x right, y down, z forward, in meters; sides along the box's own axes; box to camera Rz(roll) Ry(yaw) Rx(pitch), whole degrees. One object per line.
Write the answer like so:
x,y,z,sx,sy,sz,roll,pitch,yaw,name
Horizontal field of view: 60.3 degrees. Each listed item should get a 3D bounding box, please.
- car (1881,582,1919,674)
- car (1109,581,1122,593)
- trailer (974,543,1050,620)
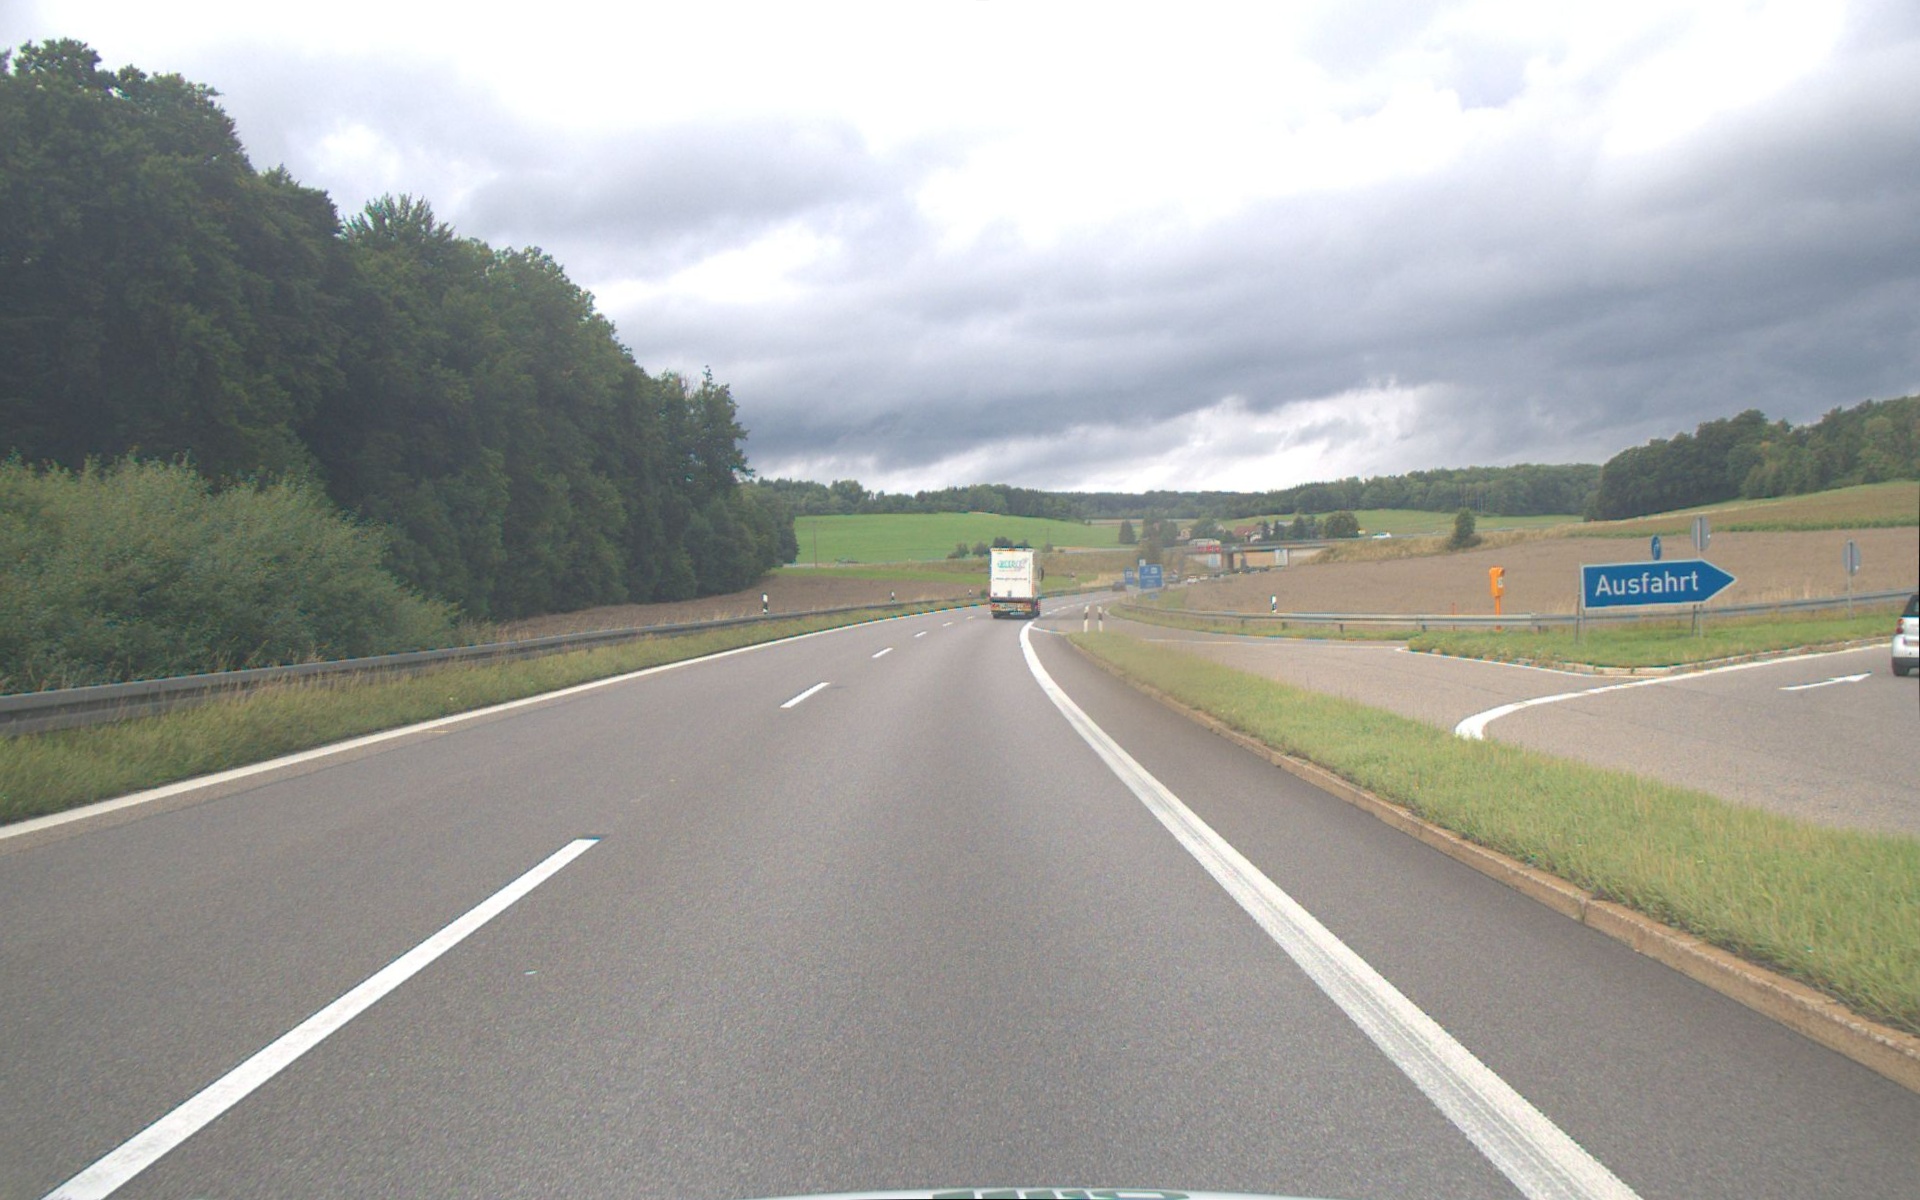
18.308,0.453,29.913,3.967,1.579,1.756,-2,1,-43,car
24.484,-2.010,260.475,1.862,1.827,4.002,-1,-2,6,car
3.308,-1.085,100.041,3.725,4.247,14.817,1,0,5,trailer
